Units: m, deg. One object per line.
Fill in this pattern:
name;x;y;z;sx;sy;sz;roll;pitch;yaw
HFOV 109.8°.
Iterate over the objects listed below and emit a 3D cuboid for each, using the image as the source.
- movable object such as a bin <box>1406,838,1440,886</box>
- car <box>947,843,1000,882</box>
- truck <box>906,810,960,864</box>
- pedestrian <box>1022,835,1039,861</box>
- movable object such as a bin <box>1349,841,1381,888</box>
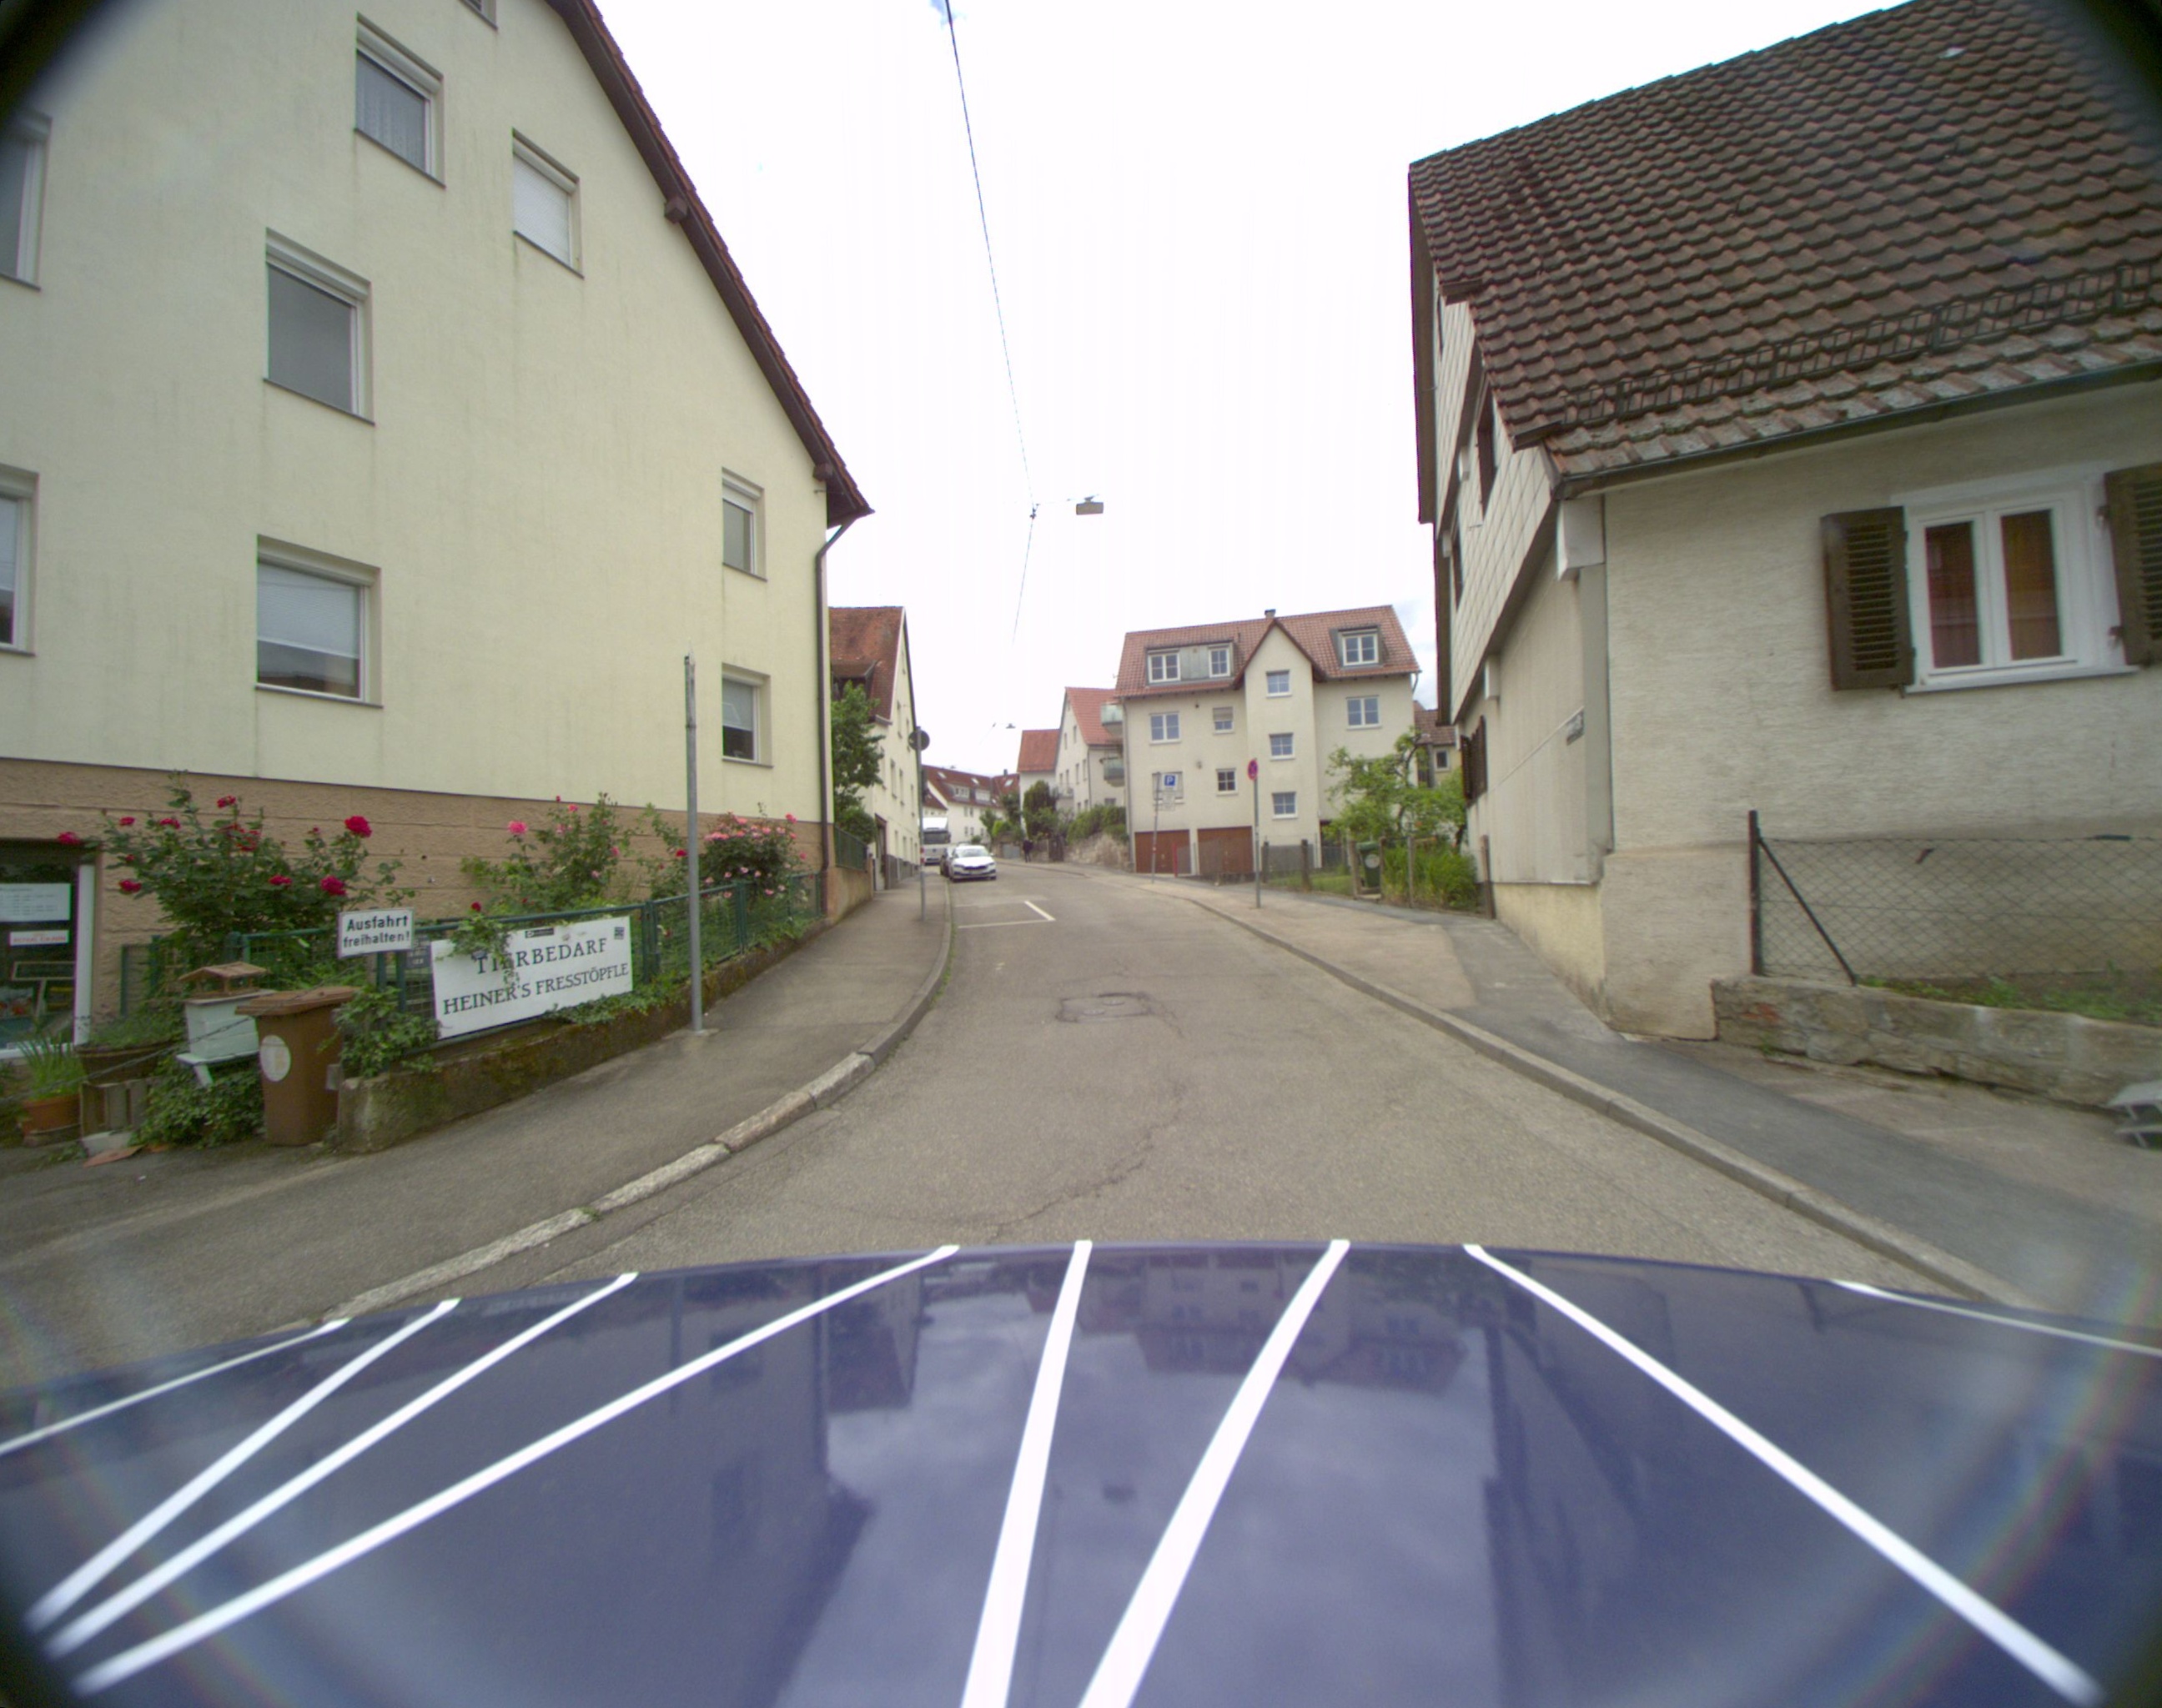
movable object such as a bin;6.737;0.160;14.980;0.495;0.873;0.453;-5;3;19
car;-4.665;0.298;32.444;1.801;1.437;4.292;-4;2;-13
truck;-10.896;-1.169;55.285;2.686;3.577;8.092;-4;1;-18
pedestrian;-3.401;-0.377;50.813;0.843;1.668;0.975;-4;3;-17
movable object such as a bin;5.696;0.205;15.262;0.527;0.879;0.490;-5;3;19
